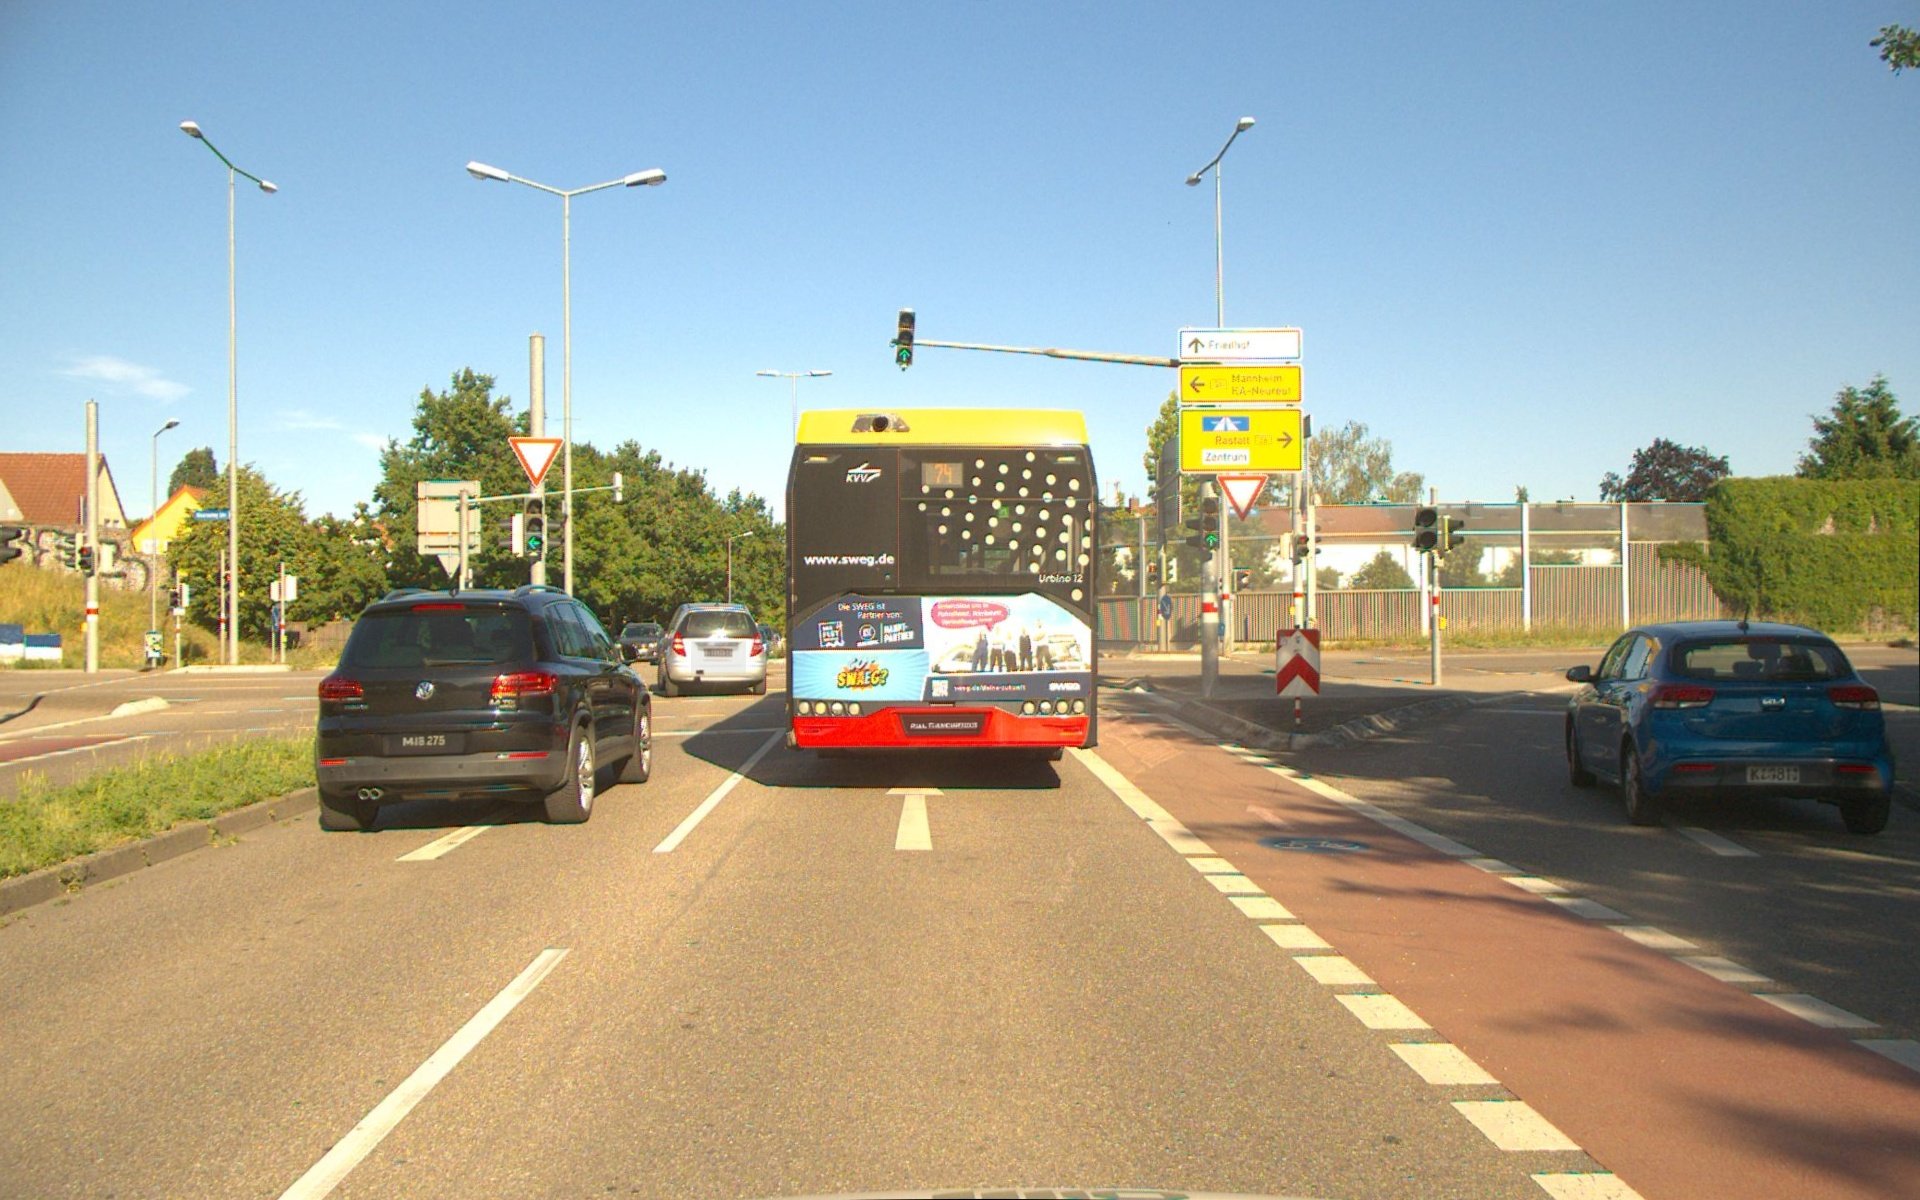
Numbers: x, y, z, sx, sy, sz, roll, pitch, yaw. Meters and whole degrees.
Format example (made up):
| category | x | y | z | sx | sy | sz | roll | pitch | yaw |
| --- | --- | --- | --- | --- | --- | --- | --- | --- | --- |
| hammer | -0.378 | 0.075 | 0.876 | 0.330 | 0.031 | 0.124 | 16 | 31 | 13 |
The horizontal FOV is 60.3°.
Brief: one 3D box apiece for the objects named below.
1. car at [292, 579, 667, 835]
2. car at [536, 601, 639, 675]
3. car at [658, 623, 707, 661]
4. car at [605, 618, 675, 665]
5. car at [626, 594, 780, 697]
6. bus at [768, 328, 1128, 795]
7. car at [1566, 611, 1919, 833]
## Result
| category | x | y | z | sx | sy | sz | roll | pitch | yaw |
| --- | --- | --- | --- | --- | --- | --- | --- | --- | --- |
| car | -3.494 | 0.713 | 12.812 | 1.790 | 1.656 | 3.999 | 0 | 0 | -1 |
| car | -8.985 | 0.875 | 39.652 | 2.009 | 1.644 | 4.395 | -1 | 0 | -18 |
| car | -11.831 | 1.791 | 70.735 | 1.612 | 1.509 | 3.711 | -1 | -1 | -3 |
| car | -12.192 | 1.580 | 63.259 | 1.954 | 1.673 | 4.527 | -1 | -1 | -3 |
| car | -4.739 | 0.748 | 29.973 | 2.010 | 1.644 | 4.393 | -1 | 1 | -19 |
| bus | -0.352 | -0.264 | 18.840 | 2.702 | 3.519 | 12.391 | 1 | 0 | -3 |
| car | 5.947 | 0.827 | 12.997 | 1.694 | 1.466 | 3.796 | 0 | 0 | 12 |
